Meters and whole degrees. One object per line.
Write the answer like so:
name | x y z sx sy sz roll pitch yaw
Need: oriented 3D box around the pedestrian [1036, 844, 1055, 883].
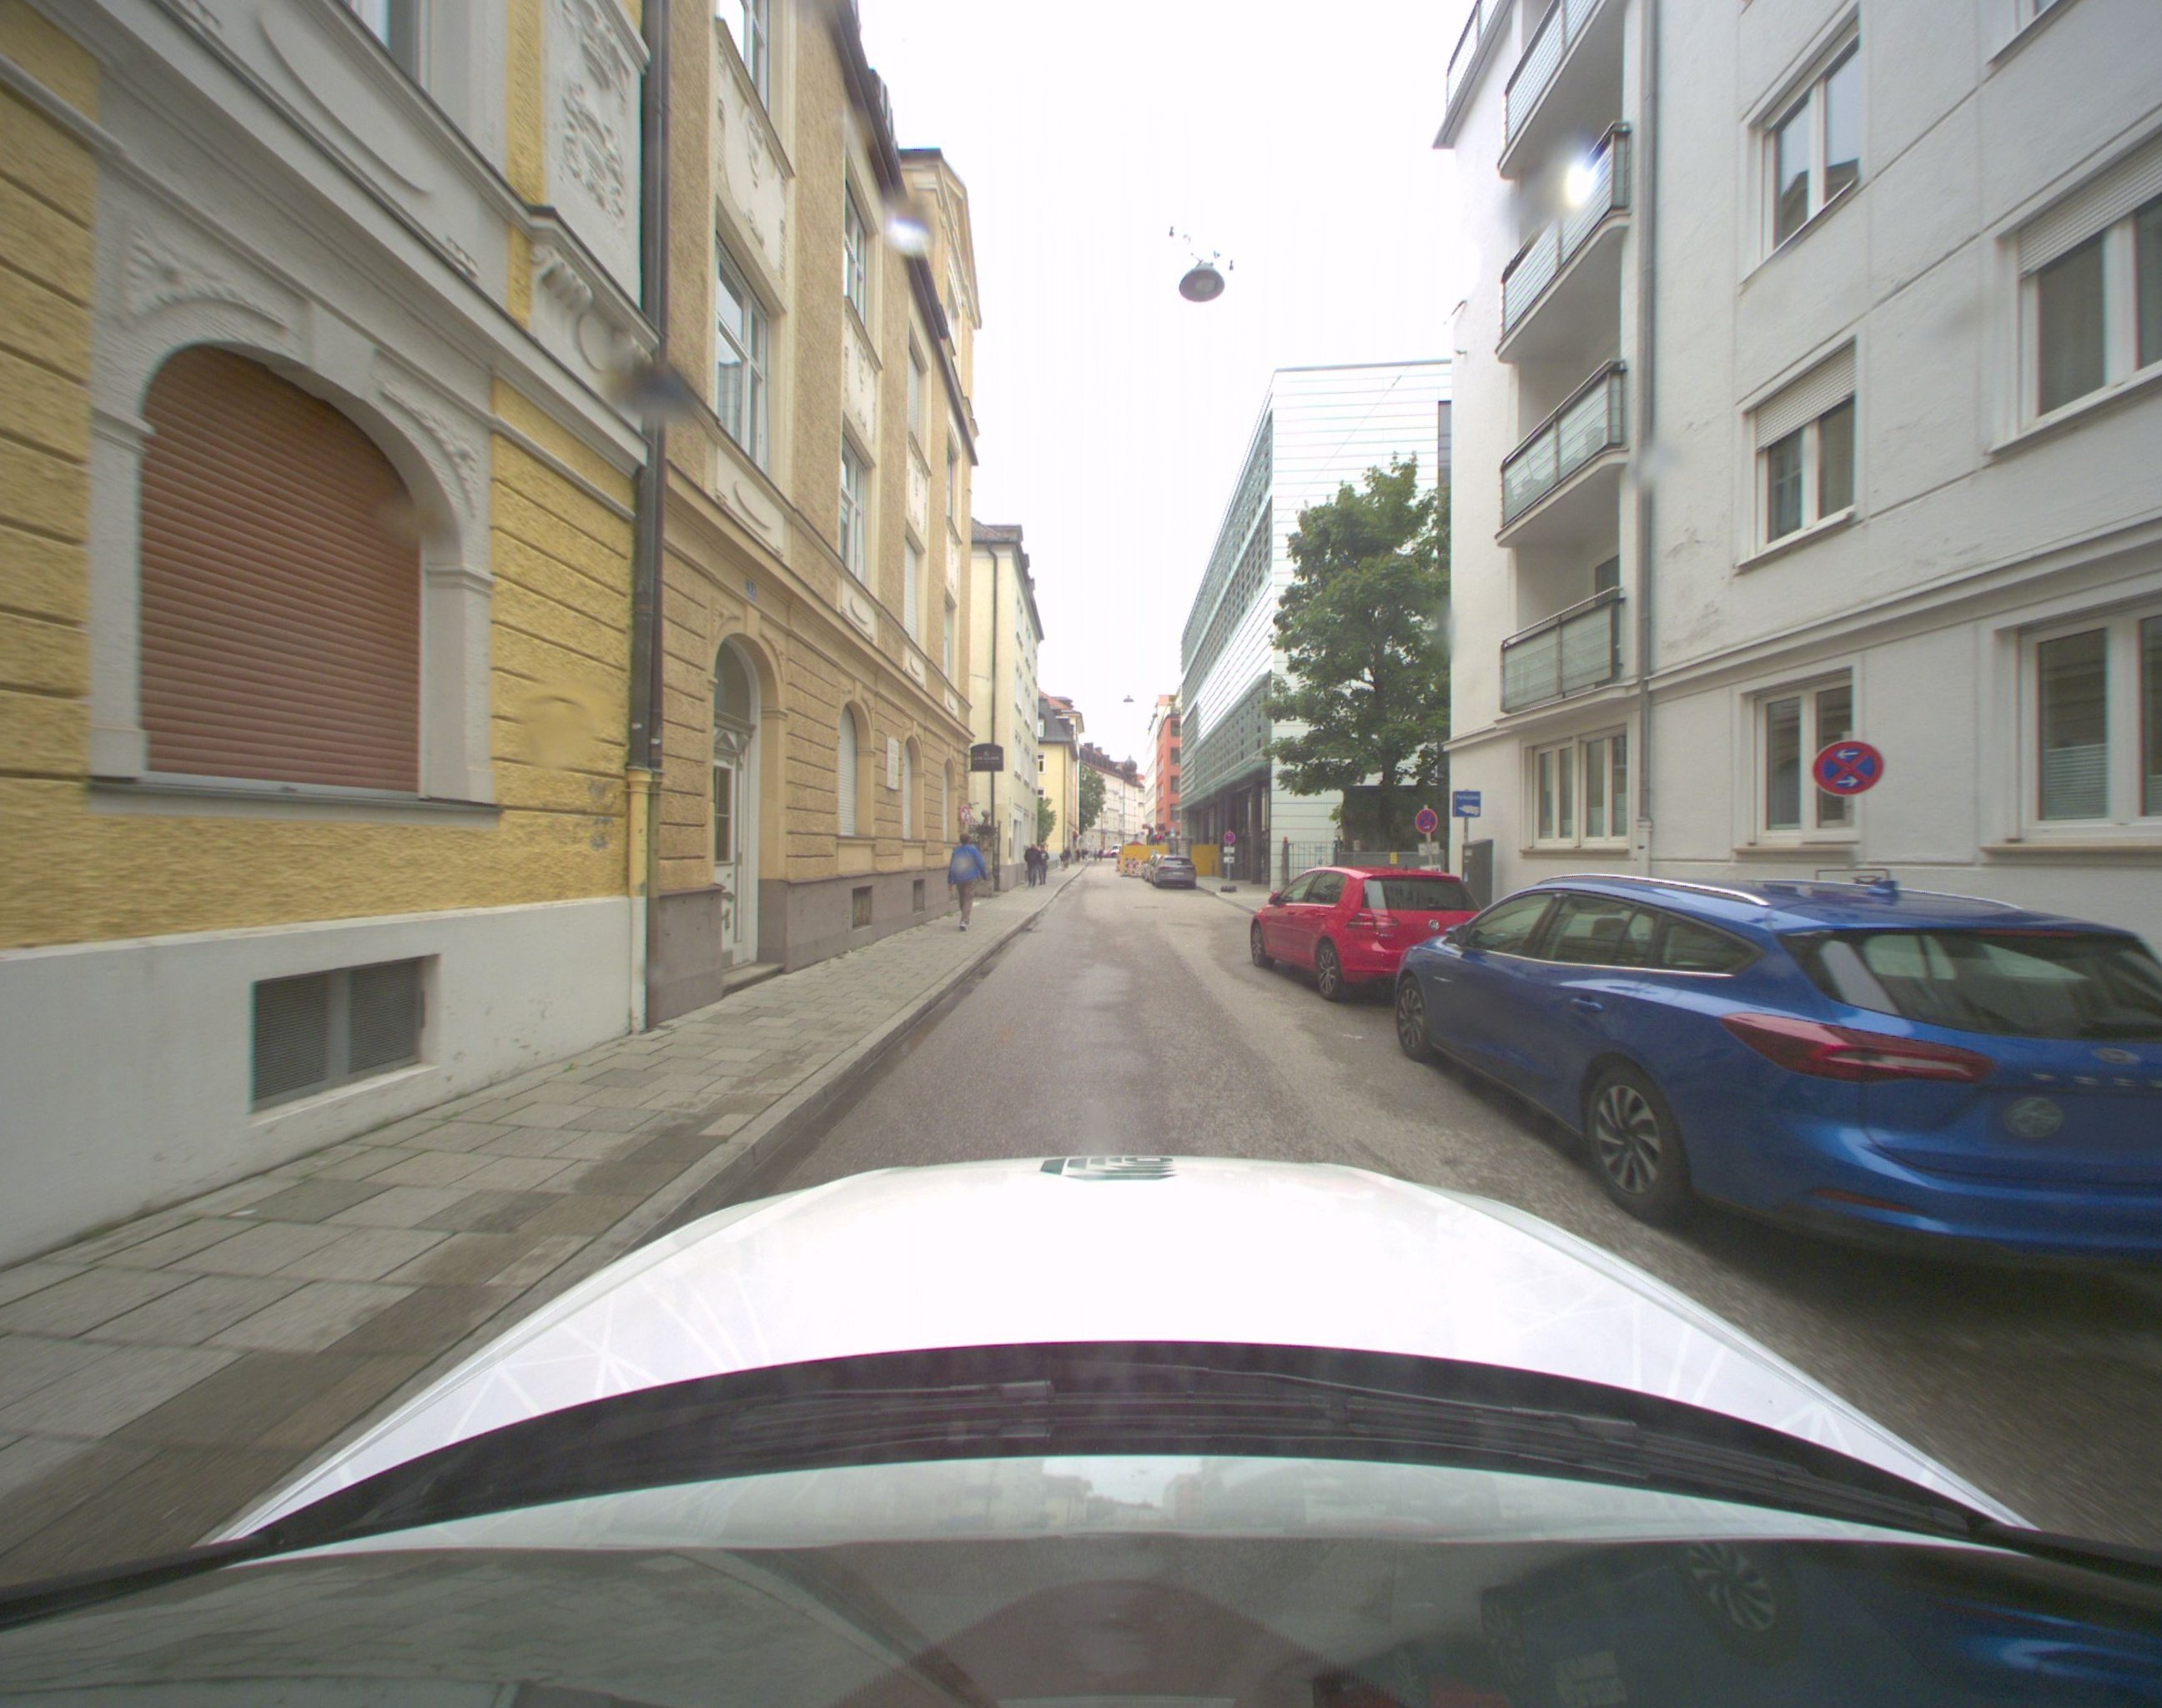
pedestrian | -1.538 0.406 35.446 0.710 1.666 0.930 3 0 1

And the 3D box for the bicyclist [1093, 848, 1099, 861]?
bicyclist | 1.878 0.060 102.263 0.657 1.643 0.895 0 0 1

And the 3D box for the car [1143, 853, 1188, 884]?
car | 4.261 0.695 41.590 1.703 1.467 4.234 2 0 -2

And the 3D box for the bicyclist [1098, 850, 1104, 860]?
bicyclist | 2.581 0.116 105.753 0.705 1.371 0.813 0 0 1

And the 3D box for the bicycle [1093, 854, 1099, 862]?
bicycle | 1.881 0.492 102.312 0.659 1.039 2.005 0 0 1

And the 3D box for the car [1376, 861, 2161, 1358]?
car | 3.289 0.800 4.653 1.787 1.438 4.386 2 0 3

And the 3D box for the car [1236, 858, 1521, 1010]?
car | 3.388 0.817 10.264 1.757 1.447 4.292 2 0 -4

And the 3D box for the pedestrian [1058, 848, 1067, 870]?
pedestrian | -1.390 0.364 62.724 0.645 1.676 0.724 1 0 0

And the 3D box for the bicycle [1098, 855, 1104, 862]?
bicycle | 2.585 0.579 105.701 0.705 0.905 1.810 0 0 1

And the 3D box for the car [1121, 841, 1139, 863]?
car | 5.916 -0.232 98.874 1.987 2.536 4.975 1 0 1

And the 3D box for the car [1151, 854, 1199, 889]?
car | 4.108 0.724 36.295 1.702 1.432 4.330 0 0 1

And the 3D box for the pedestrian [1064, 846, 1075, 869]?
pedestrian | -1.010 0.309 68.908 0.865 1.881 1.135 1 0 0

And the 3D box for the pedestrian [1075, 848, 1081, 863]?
pedestrian | -0.359 0.173 95.985 0.668 1.648 0.761 1 0 0

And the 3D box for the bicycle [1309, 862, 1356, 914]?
bicycle | 6.536 0.864 21.249 0.705 1.198 1.835 0 3 2

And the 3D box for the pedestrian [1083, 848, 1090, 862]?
pedestrian | 0.655 0.110 95.717 0.836 1.700 0.803 1 0 1

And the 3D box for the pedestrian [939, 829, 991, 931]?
pedestrian | -2.177 0.473 15.433 0.754 1.854 1.077 2 0 1

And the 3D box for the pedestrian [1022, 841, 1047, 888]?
pedestrian | -1.861 0.408 32.459 0.902 1.827 0.956 1 0 0
